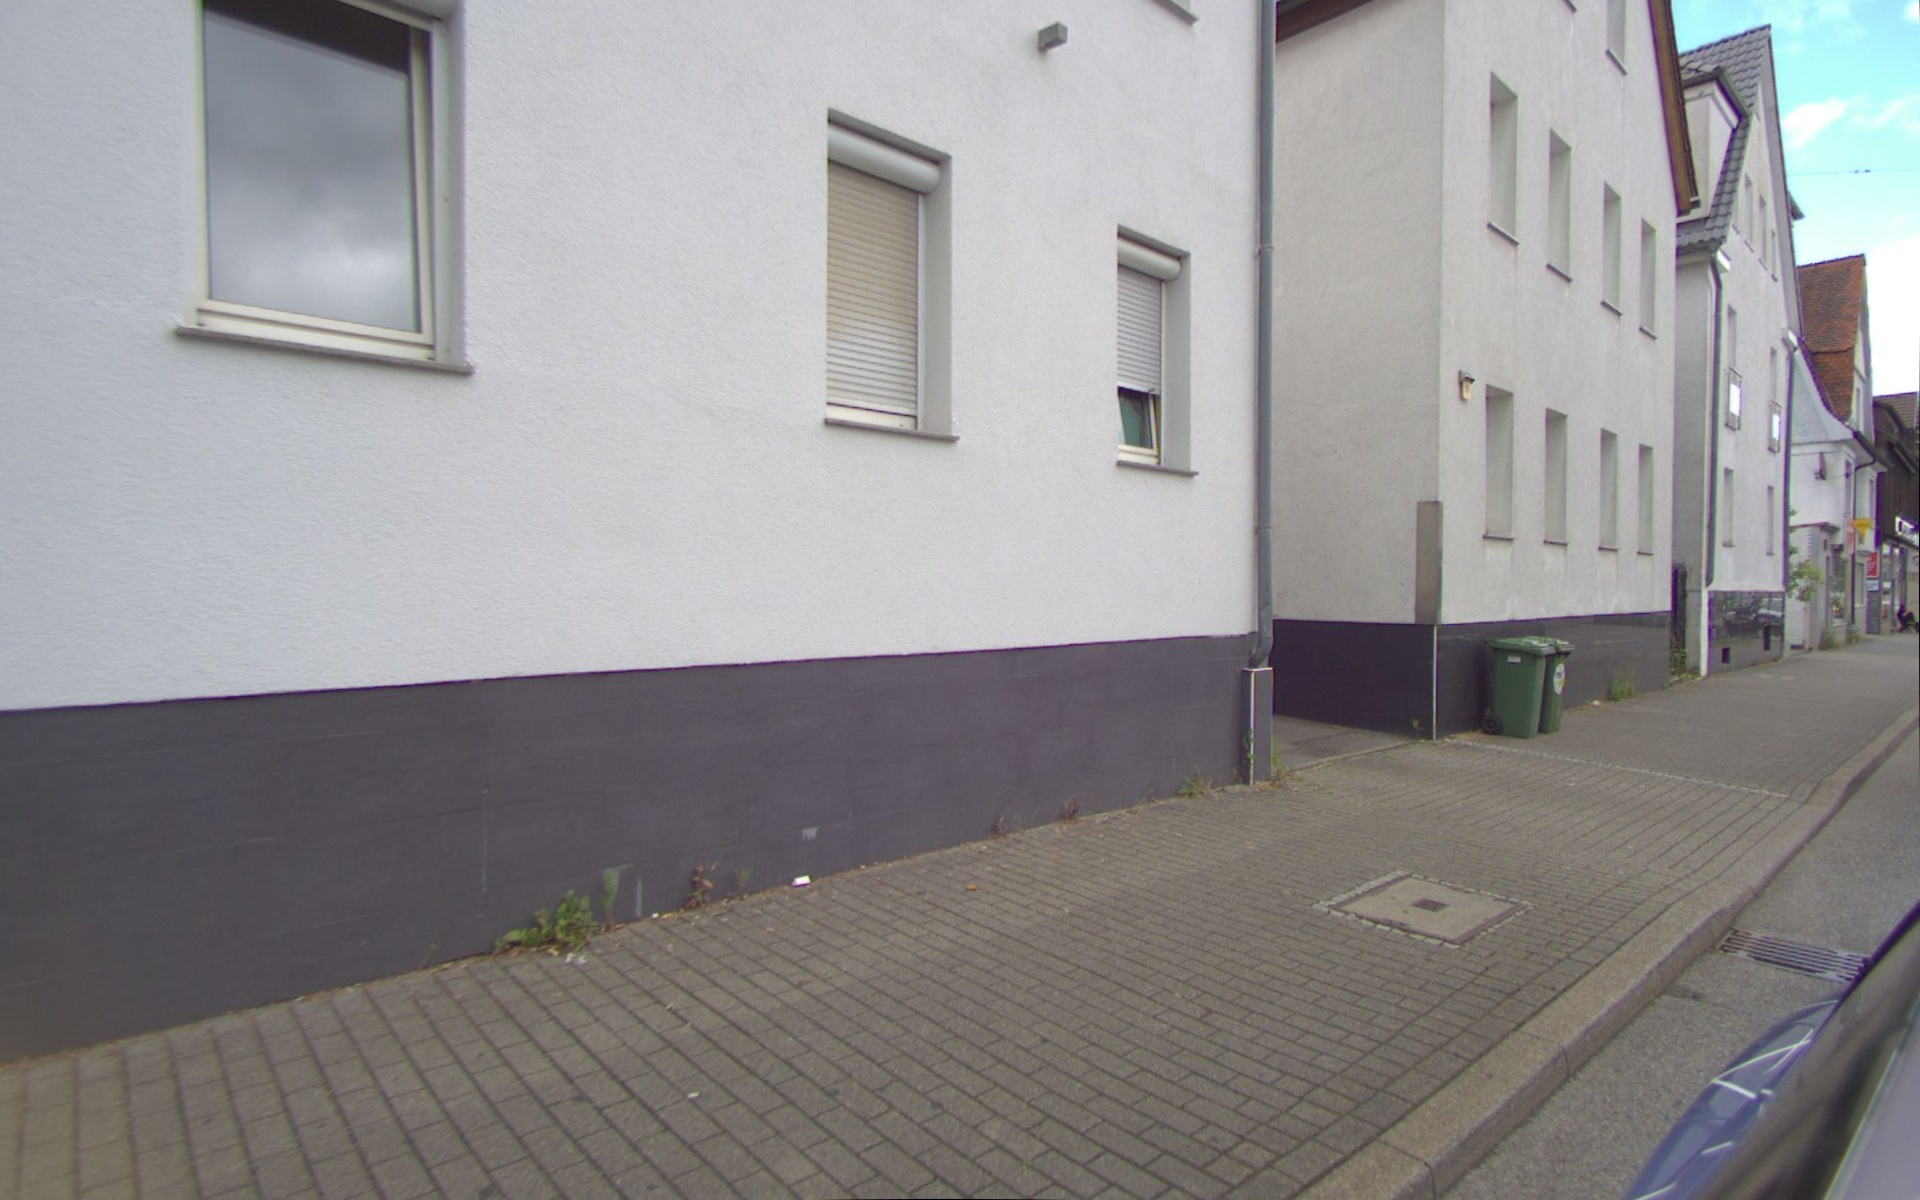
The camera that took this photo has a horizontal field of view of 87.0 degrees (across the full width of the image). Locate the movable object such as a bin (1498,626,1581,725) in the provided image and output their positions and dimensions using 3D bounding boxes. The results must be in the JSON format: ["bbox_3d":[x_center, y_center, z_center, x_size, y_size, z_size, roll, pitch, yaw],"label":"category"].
[{"bbox_3d":[5.822,0.743,10.167,0.510,0.914,0.565,0,2,-41],"label":"movable object such as a bin"}]

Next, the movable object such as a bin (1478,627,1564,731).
[{"bbox_3d":[5.399,0.739,9.746,0.510,0.914,0.565,0,2,-41],"label":"movable object such as a bin"}]

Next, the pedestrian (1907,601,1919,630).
[{"bbox_3d":[42.387,0.690,44.447,0.653,1.296,0.985,0,1,-30],"label":"pedestrian"}]
